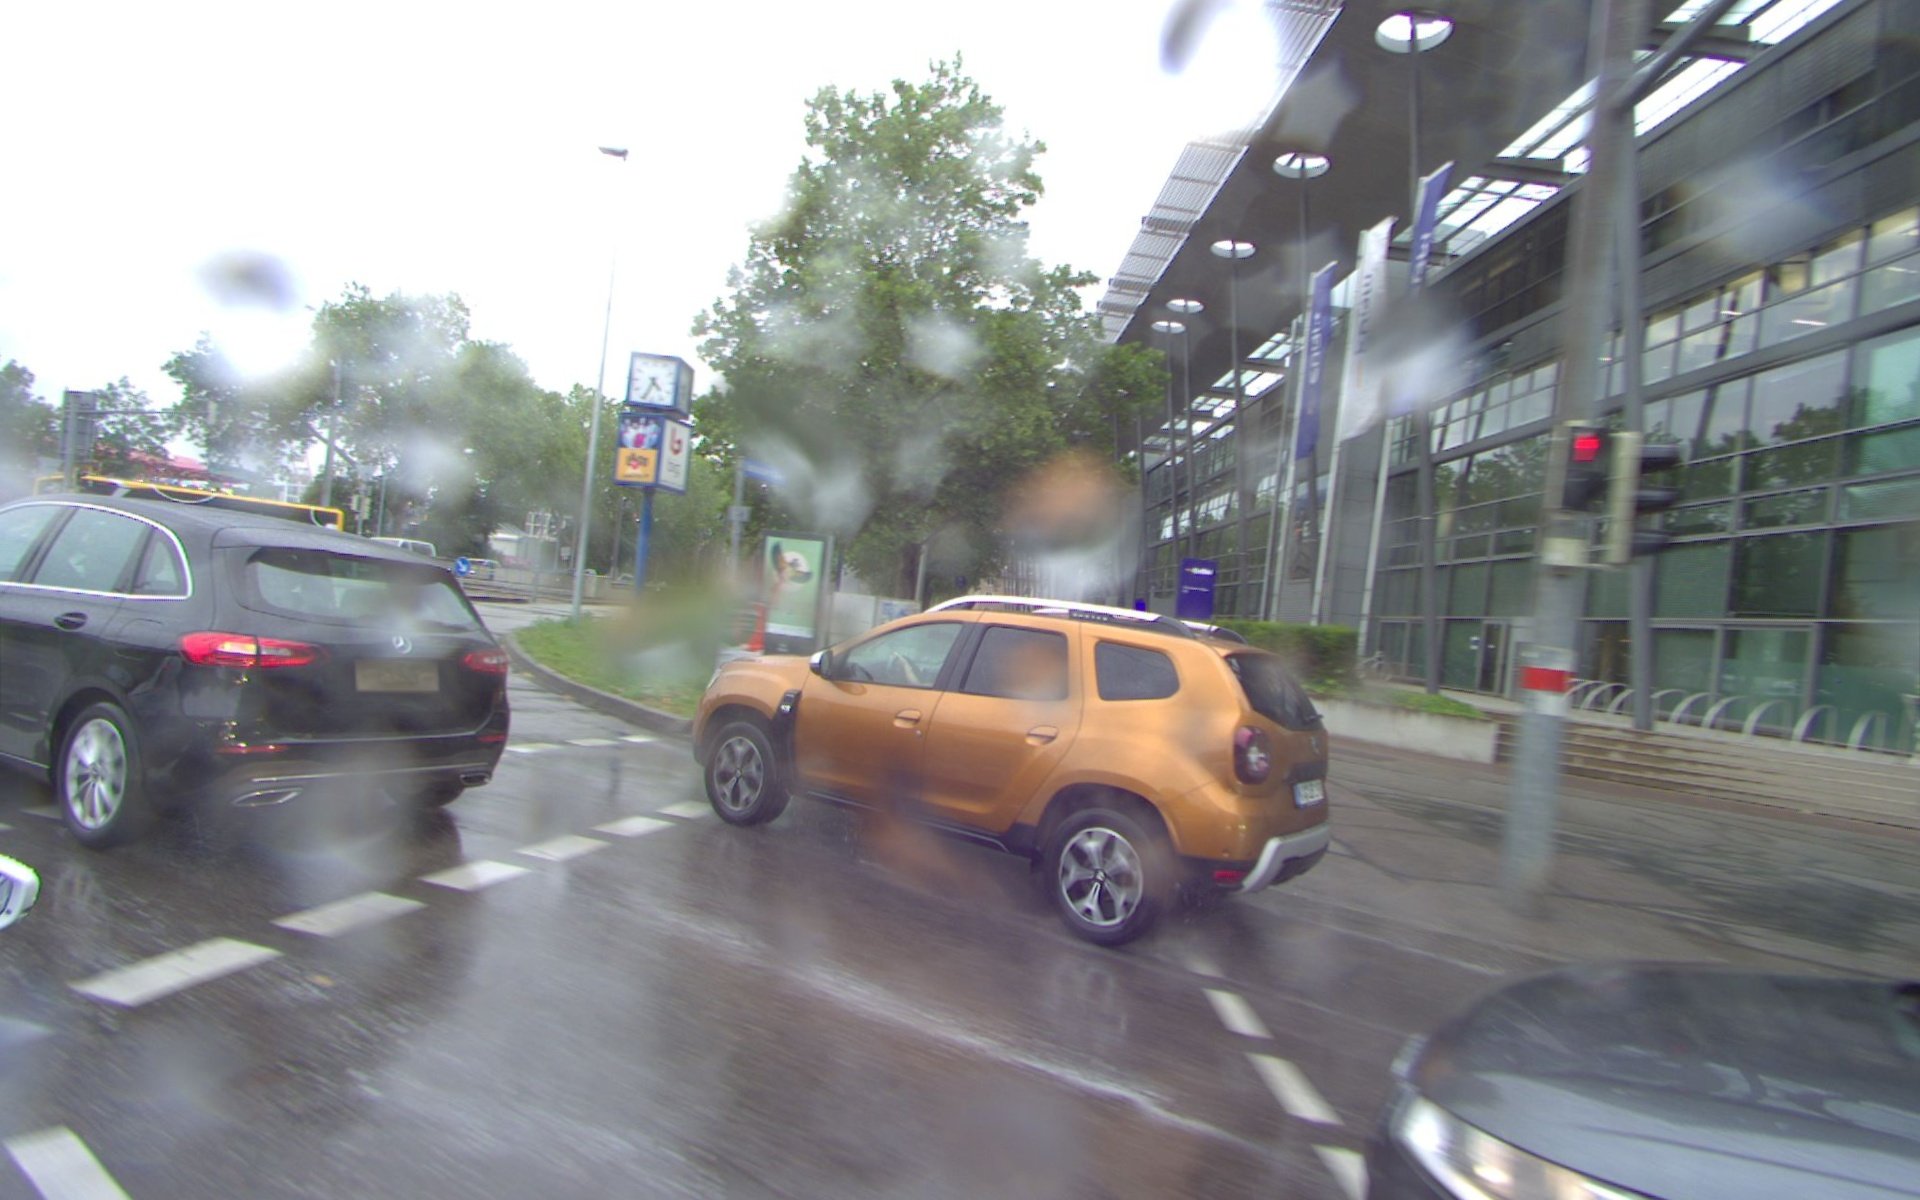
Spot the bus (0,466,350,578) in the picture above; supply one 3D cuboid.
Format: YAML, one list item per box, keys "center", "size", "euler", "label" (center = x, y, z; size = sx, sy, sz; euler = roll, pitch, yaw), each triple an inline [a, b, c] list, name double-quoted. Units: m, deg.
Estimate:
- center: [-35.352, -3.333, 46.170]
  size: [3.221, 3.308, 12.262]
  euler: [6, -1, 32]
  label: "bus"

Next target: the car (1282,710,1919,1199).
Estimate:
- center: [2.569, 1.144, 1.421]
  size: [3.693, 1.414, 1.839]
  euler: [6, -2, 34]
  label: "car"

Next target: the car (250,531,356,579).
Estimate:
- center: [-29.142, -1.955, 44.795]
  size: [1.898, 1.671, 4.340]
  euler: [6, -1, -3]
  label: "car"

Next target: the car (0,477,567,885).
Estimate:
- center: [-4.519, 0.207, 5.722]
  size: [4.013, 1.542, 1.875]
  euler: [7, 0, 25]
  label: "car"

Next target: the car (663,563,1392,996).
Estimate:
- center: [0.292, 0.827, 6.401]
  size: [4.103, 1.652, 1.901]
  euler: [6, 0, 34]
  label: "car"

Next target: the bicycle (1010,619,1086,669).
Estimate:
- center: [3.105, 1.552, 35.793]
  size: [2.638, 1.459, 0.802]
  euler: [5, -2, 45]
  label: "bicycle"

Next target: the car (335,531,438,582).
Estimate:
- center: [-26.484, -1.967, 46.658]
  size: [2.040, 1.871, 4.745]
  euler: [6, -1, -3]
  label: "car"
